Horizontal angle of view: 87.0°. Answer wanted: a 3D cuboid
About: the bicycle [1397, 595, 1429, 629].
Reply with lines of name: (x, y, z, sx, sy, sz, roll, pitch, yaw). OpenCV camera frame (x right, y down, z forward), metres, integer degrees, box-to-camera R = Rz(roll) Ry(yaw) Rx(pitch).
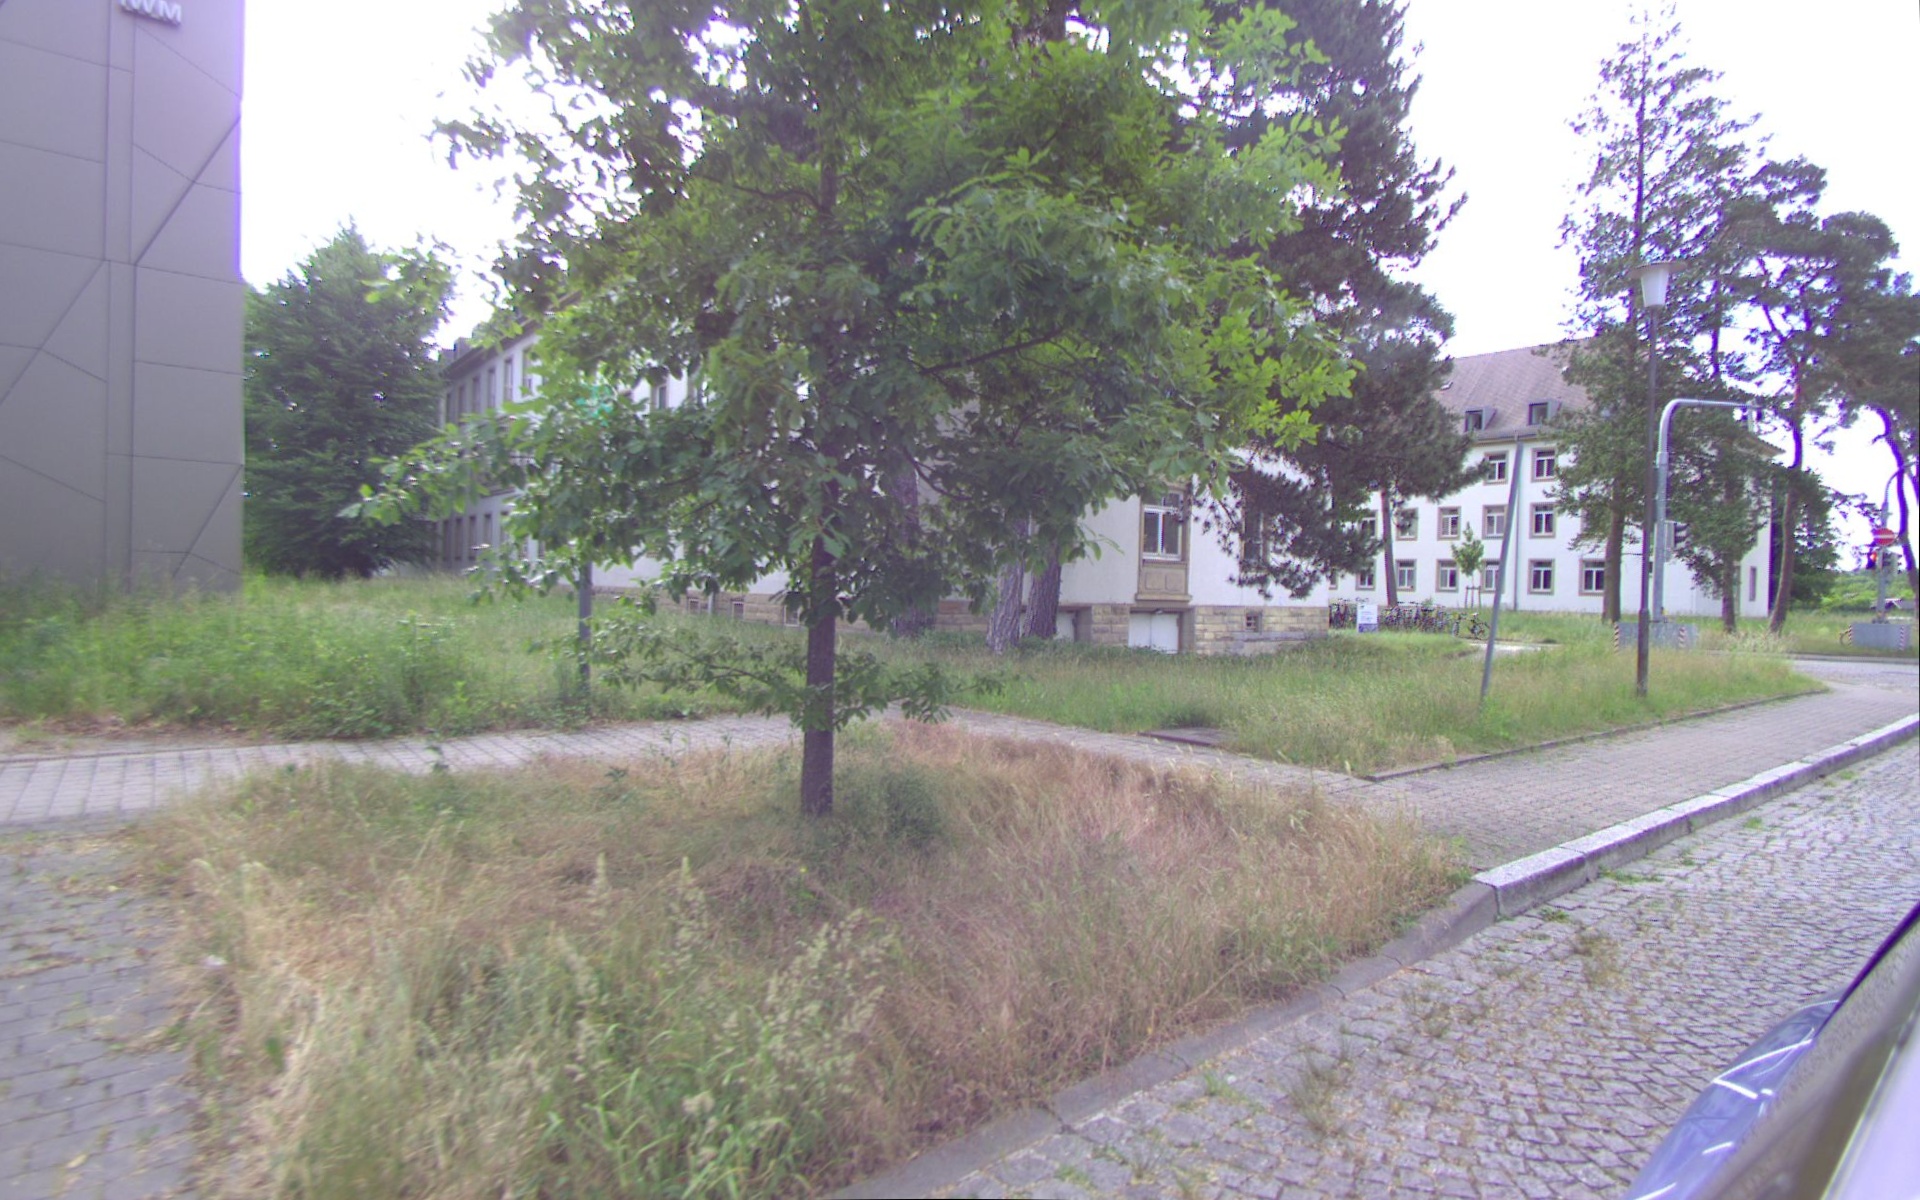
bicycle: (18.695, 0.488, 41.719, 0.571, 1.348, 1.808, 2, 1, 45)

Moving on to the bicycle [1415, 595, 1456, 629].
bicycle: (19.265, 0.490, 40.983, 1.802, 1.348, 0.573, 1, 0, -32)

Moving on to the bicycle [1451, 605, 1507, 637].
bicycle: (19.564, 0.785, 38.196, 0.562, 1.098, 1.838, -1, 2, -36)

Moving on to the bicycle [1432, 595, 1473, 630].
bicycle: (19.747, 0.502, 40.571, 1.802, 1.348, 0.573, 1, 0, -32)

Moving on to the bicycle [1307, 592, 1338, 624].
bicycle: (16.069, 0.349, 44.880, 0.571, 1.348, 1.808, 2, 1, 45)

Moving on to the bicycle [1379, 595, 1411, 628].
bicycle: (18.164, 0.465, 42.272, 0.571, 1.348, 1.808, 2, 1, 45)

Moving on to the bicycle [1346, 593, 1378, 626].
bicycle: (17.208, 0.401, 43.320, 0.571, 1.348, 1.808, 2, 1, 45)

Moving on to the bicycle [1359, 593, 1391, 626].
bicycle: (17.585, 0.402, 42.899, 0.571, 1.348, 1.808, 2, 1, 45)

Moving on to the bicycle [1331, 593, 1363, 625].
bicycle: (16.790, 0.400, 43.912, 0.571, 1.348, 1.808, 2, 1, 45)

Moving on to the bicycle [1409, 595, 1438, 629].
bicycle: (18.960, 0.489, 41.377, 0.481, 1.348, 1.808, 2, 0, 45)

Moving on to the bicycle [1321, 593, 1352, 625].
bicycle: (16.556, 0.400, 44.513, 0.571, 1.348, 1.808, 2, 1, 45)
